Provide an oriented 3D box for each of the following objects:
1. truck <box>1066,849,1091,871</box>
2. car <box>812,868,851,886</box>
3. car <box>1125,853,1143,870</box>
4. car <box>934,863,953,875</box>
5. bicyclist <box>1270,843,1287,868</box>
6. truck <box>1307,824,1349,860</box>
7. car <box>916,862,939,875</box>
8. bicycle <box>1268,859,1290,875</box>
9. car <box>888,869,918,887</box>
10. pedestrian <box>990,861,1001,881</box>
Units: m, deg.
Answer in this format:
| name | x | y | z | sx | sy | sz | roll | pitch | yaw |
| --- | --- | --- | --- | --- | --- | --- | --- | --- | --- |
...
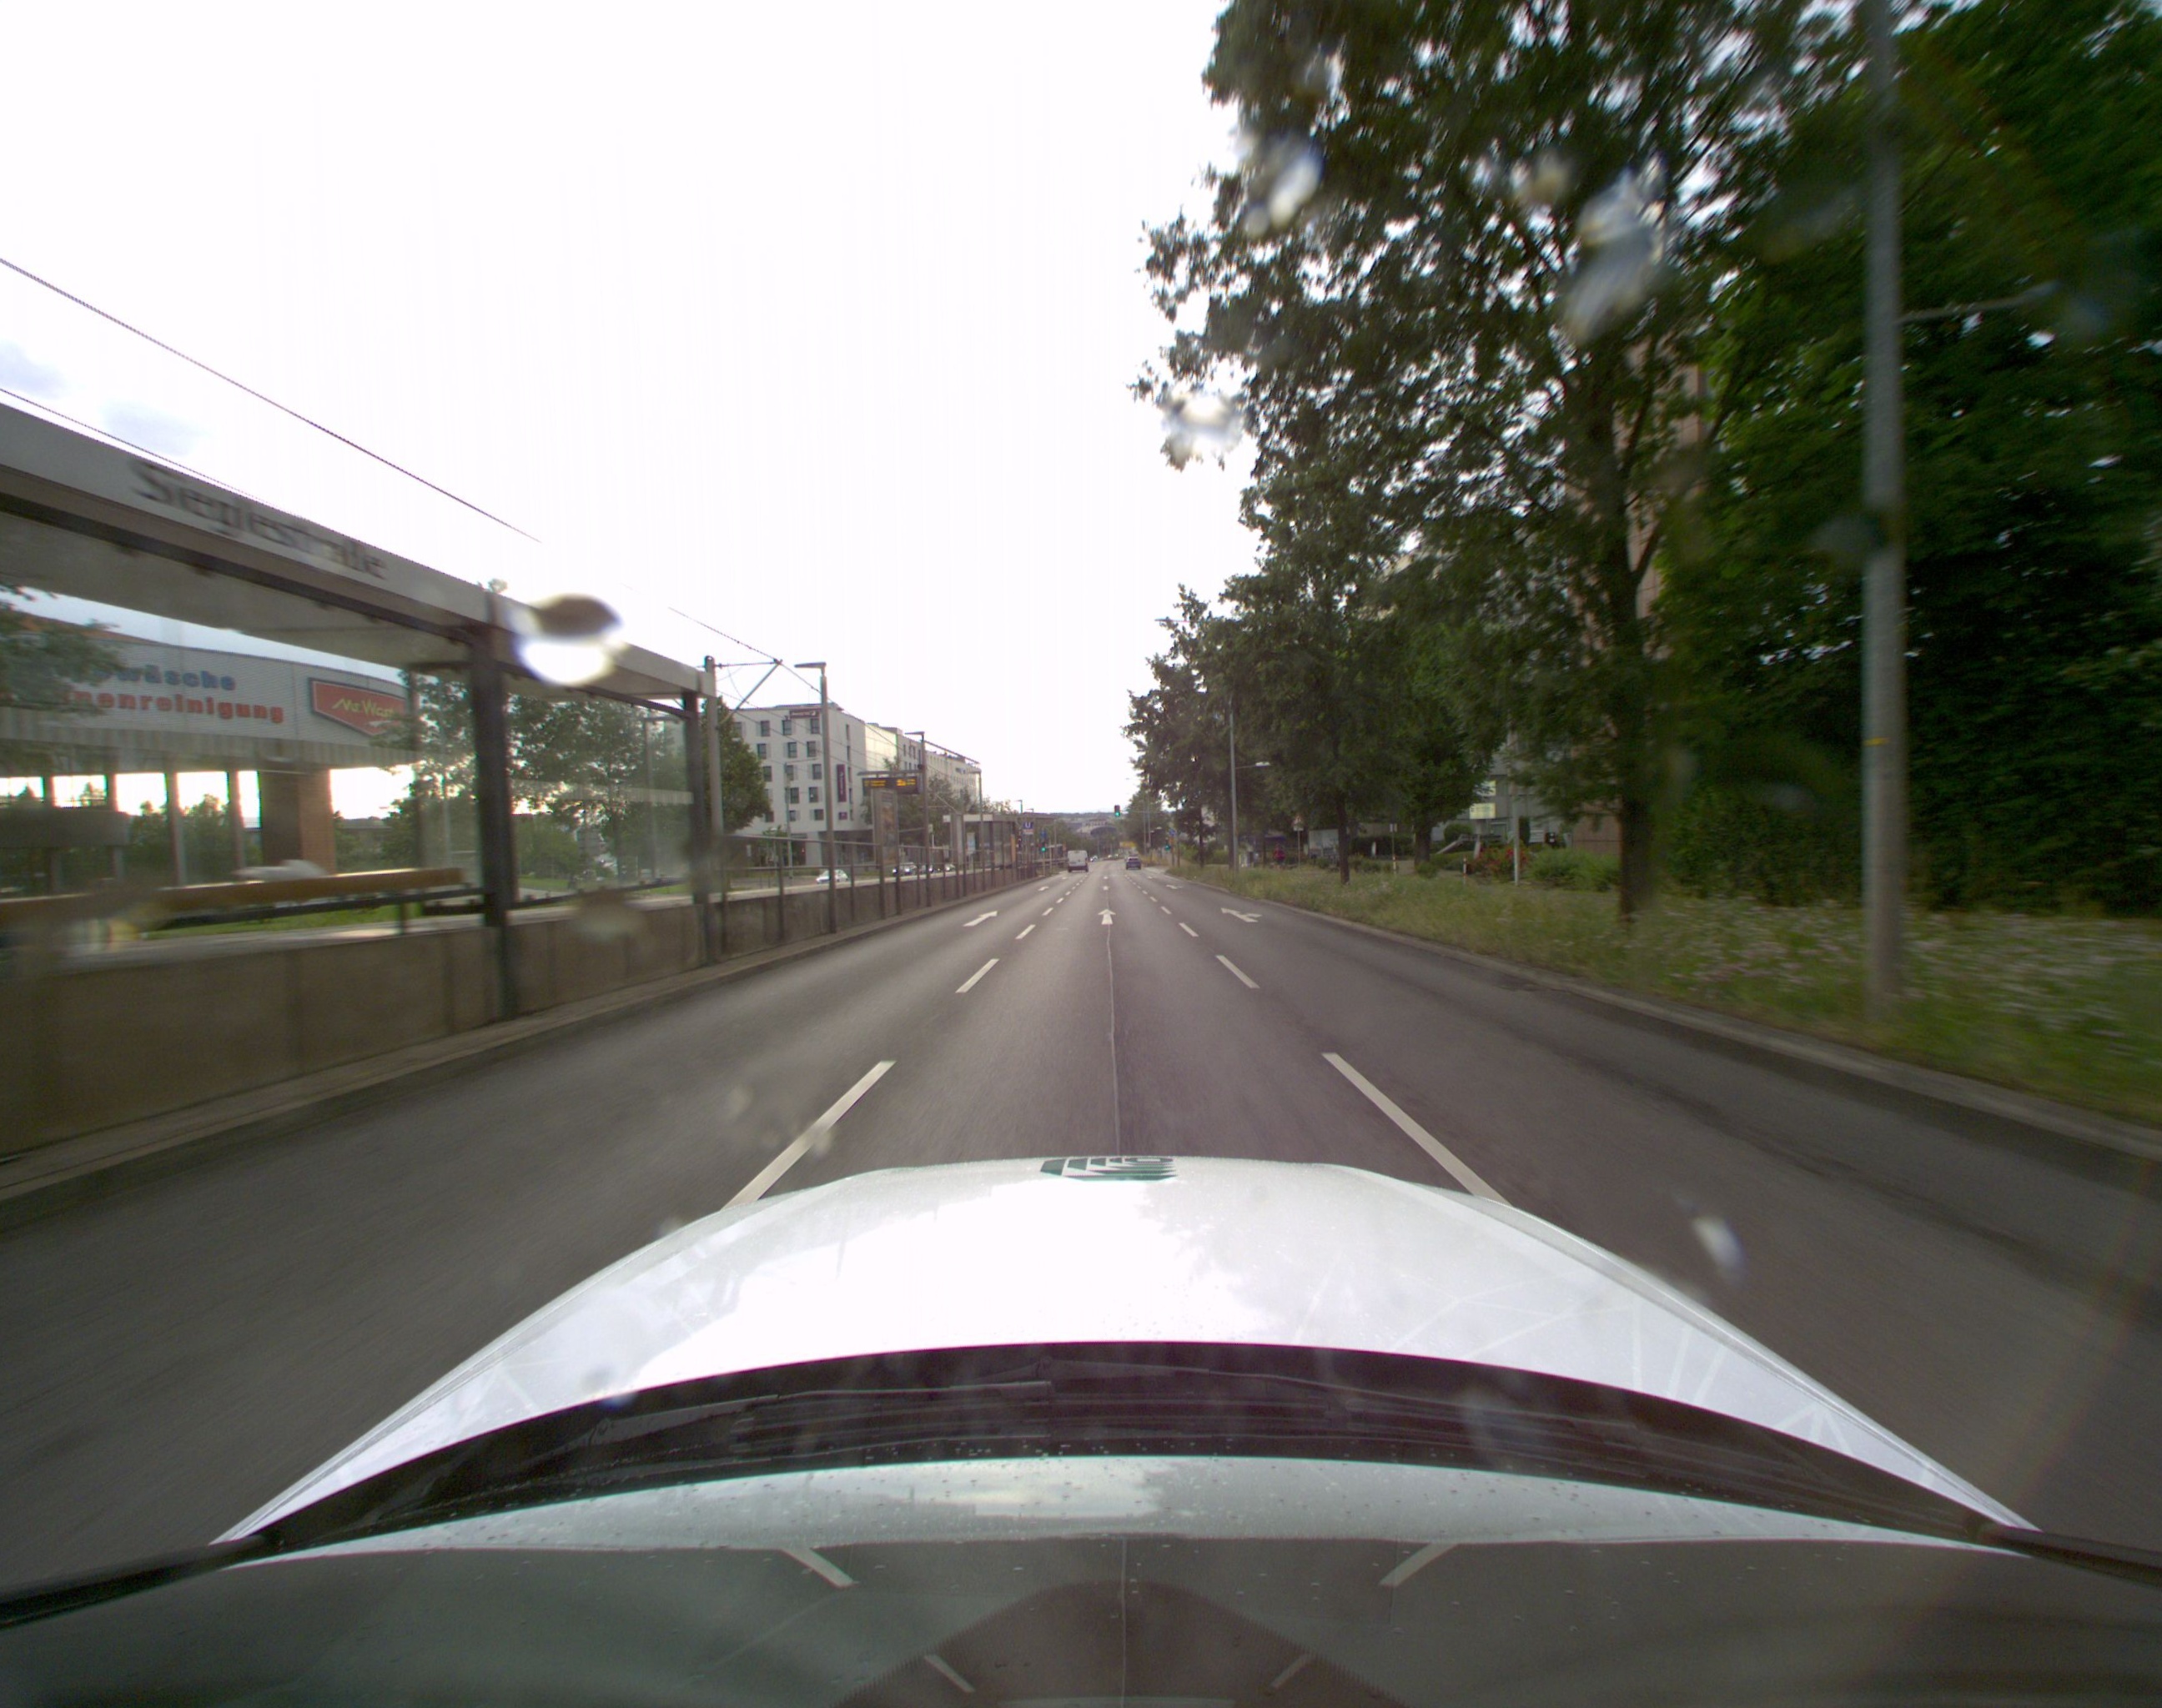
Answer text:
| name | x | y | z | sx | sy | sz | roll | pitch | yaw |
| --- | --- | --- | --- | --- | --- | --- | --- | --- | --- |
| truck | -0.202 | 0.621 | 86.486 | 2.350 | 2.262 | 5.310 | 0 | -1 | 3 |
| car | -22.187 | 1.996 | 72.565 | 1.987 | 1.517 | 4.706 | 0 | -1 | 0 |
| car | 6.301 | 0.862 | 95.967 | 1.984 | 2.014 | 3.940 | 0 | -1 | 5 |
| car | -18.393 | 2.013 | 109.228 | 1.722 | 1.423 | 3.780 | -2 | 0 | 1 |
| bicyclist | 10.413 | 0.076 | 43.039 | 0.653 | 1.288 | 1.220 | 0 | 0 | 2 |
| truck | 17.673 | -0.823 | 58.492 | 1.741 | 2.518 | 3.997 | 0 | -1 | -2 |
| car | -18.331 | 1.716 | 97.267 | 1.847 | 1.427 | 4.387 | -3 | 0 | -1 |
| bicycle | 10.423 | 0.670 | 43.025 | 0.665 | 0.809 | 2.319 | 0 | -1 | 2 |
| car | -18.768 | 2.496 | 86.046 | 1.986 | 1.774 | 4.391 | -2 | 0 | 2 |
| pedestrian | -7.027 | 1.397 | 66.892 | 0.704 | 1.650 | 0.644 | -1 | 0 | -27 |
